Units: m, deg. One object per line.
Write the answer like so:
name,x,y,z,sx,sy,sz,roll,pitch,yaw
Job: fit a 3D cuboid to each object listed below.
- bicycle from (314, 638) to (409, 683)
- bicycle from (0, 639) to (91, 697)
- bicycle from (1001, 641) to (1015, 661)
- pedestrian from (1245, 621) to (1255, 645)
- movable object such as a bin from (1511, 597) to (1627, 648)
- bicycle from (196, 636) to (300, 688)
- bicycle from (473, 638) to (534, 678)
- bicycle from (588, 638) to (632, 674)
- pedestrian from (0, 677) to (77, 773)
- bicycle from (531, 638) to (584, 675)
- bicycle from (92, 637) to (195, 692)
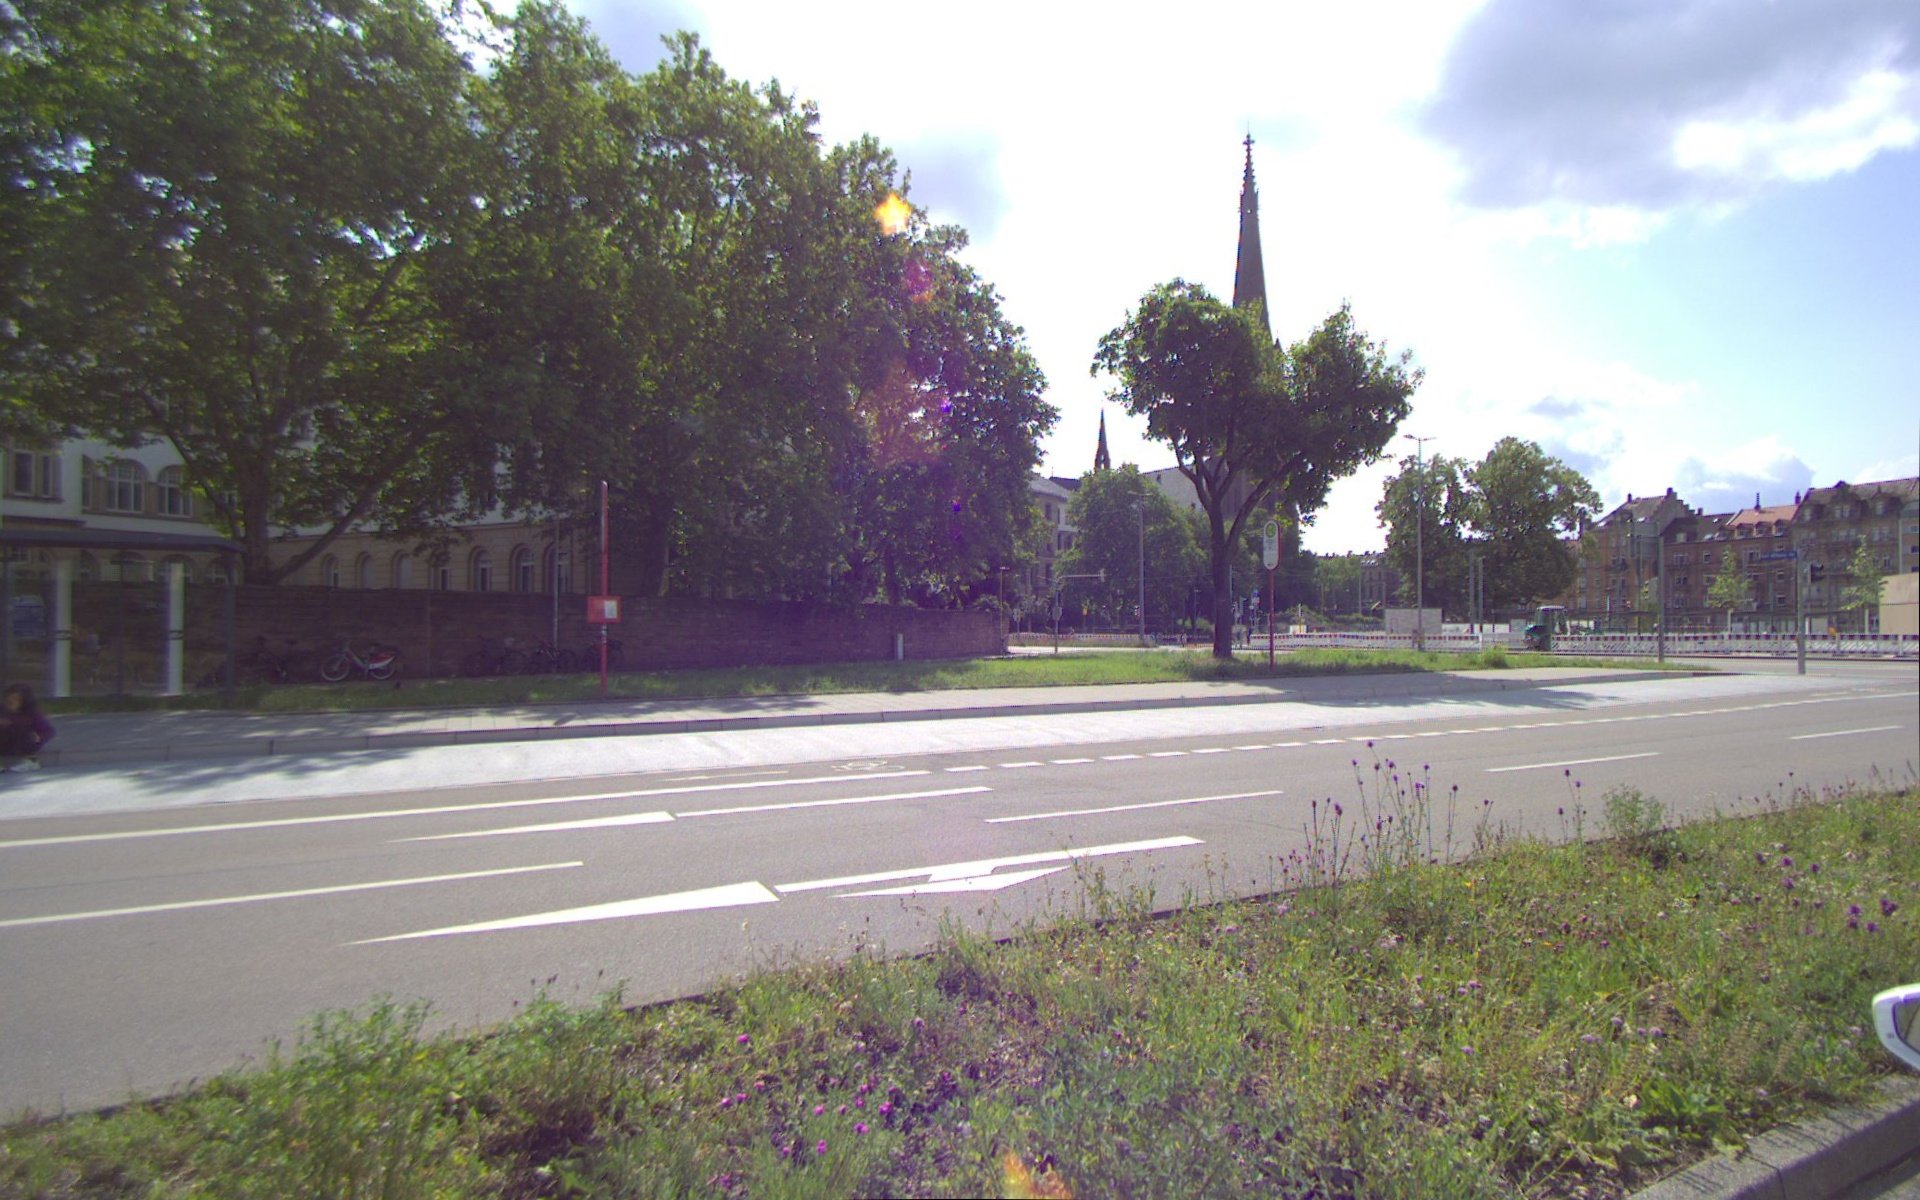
bicycle,-14.667,1.462,24.645,0.465,1.024,1.953,-1,-1,42
bicycle,-18.354,1.333,19.923,0.575,1.087,1.623,-1,-1,41
bicycle,2.565,2.726,53.799,0.386,1.005,1.523,0,-2,16
pedestrian,22.935,2.616,79.450,0.492,1.874,0.527,1,-2,-19
movable object such as a bin,35.819,1.352,59.252,5.432,2.923,2.289,0,-2,18
bicycle,-16.048,1.381,22.671,1.857,1.087,0.576,1,-1,-44
bicycle,-12.467,1.573,27.465,0.465,1.024,1.448,-1,-1,42
bicycle,-10.488,1.665,30.130,0.348,1.024,1.248,-1,-1,42
pedestrian,-10.267,1.356,11.002,0.734,0.975,0.691,1,-1,-28
bicycle,-11.509,1.609,28.756,0.386,1.024,1.362,-1,-1,42
bicycle,-17.269,1.338,21.277,0.575,1.087,1.623,-1,-1,41
